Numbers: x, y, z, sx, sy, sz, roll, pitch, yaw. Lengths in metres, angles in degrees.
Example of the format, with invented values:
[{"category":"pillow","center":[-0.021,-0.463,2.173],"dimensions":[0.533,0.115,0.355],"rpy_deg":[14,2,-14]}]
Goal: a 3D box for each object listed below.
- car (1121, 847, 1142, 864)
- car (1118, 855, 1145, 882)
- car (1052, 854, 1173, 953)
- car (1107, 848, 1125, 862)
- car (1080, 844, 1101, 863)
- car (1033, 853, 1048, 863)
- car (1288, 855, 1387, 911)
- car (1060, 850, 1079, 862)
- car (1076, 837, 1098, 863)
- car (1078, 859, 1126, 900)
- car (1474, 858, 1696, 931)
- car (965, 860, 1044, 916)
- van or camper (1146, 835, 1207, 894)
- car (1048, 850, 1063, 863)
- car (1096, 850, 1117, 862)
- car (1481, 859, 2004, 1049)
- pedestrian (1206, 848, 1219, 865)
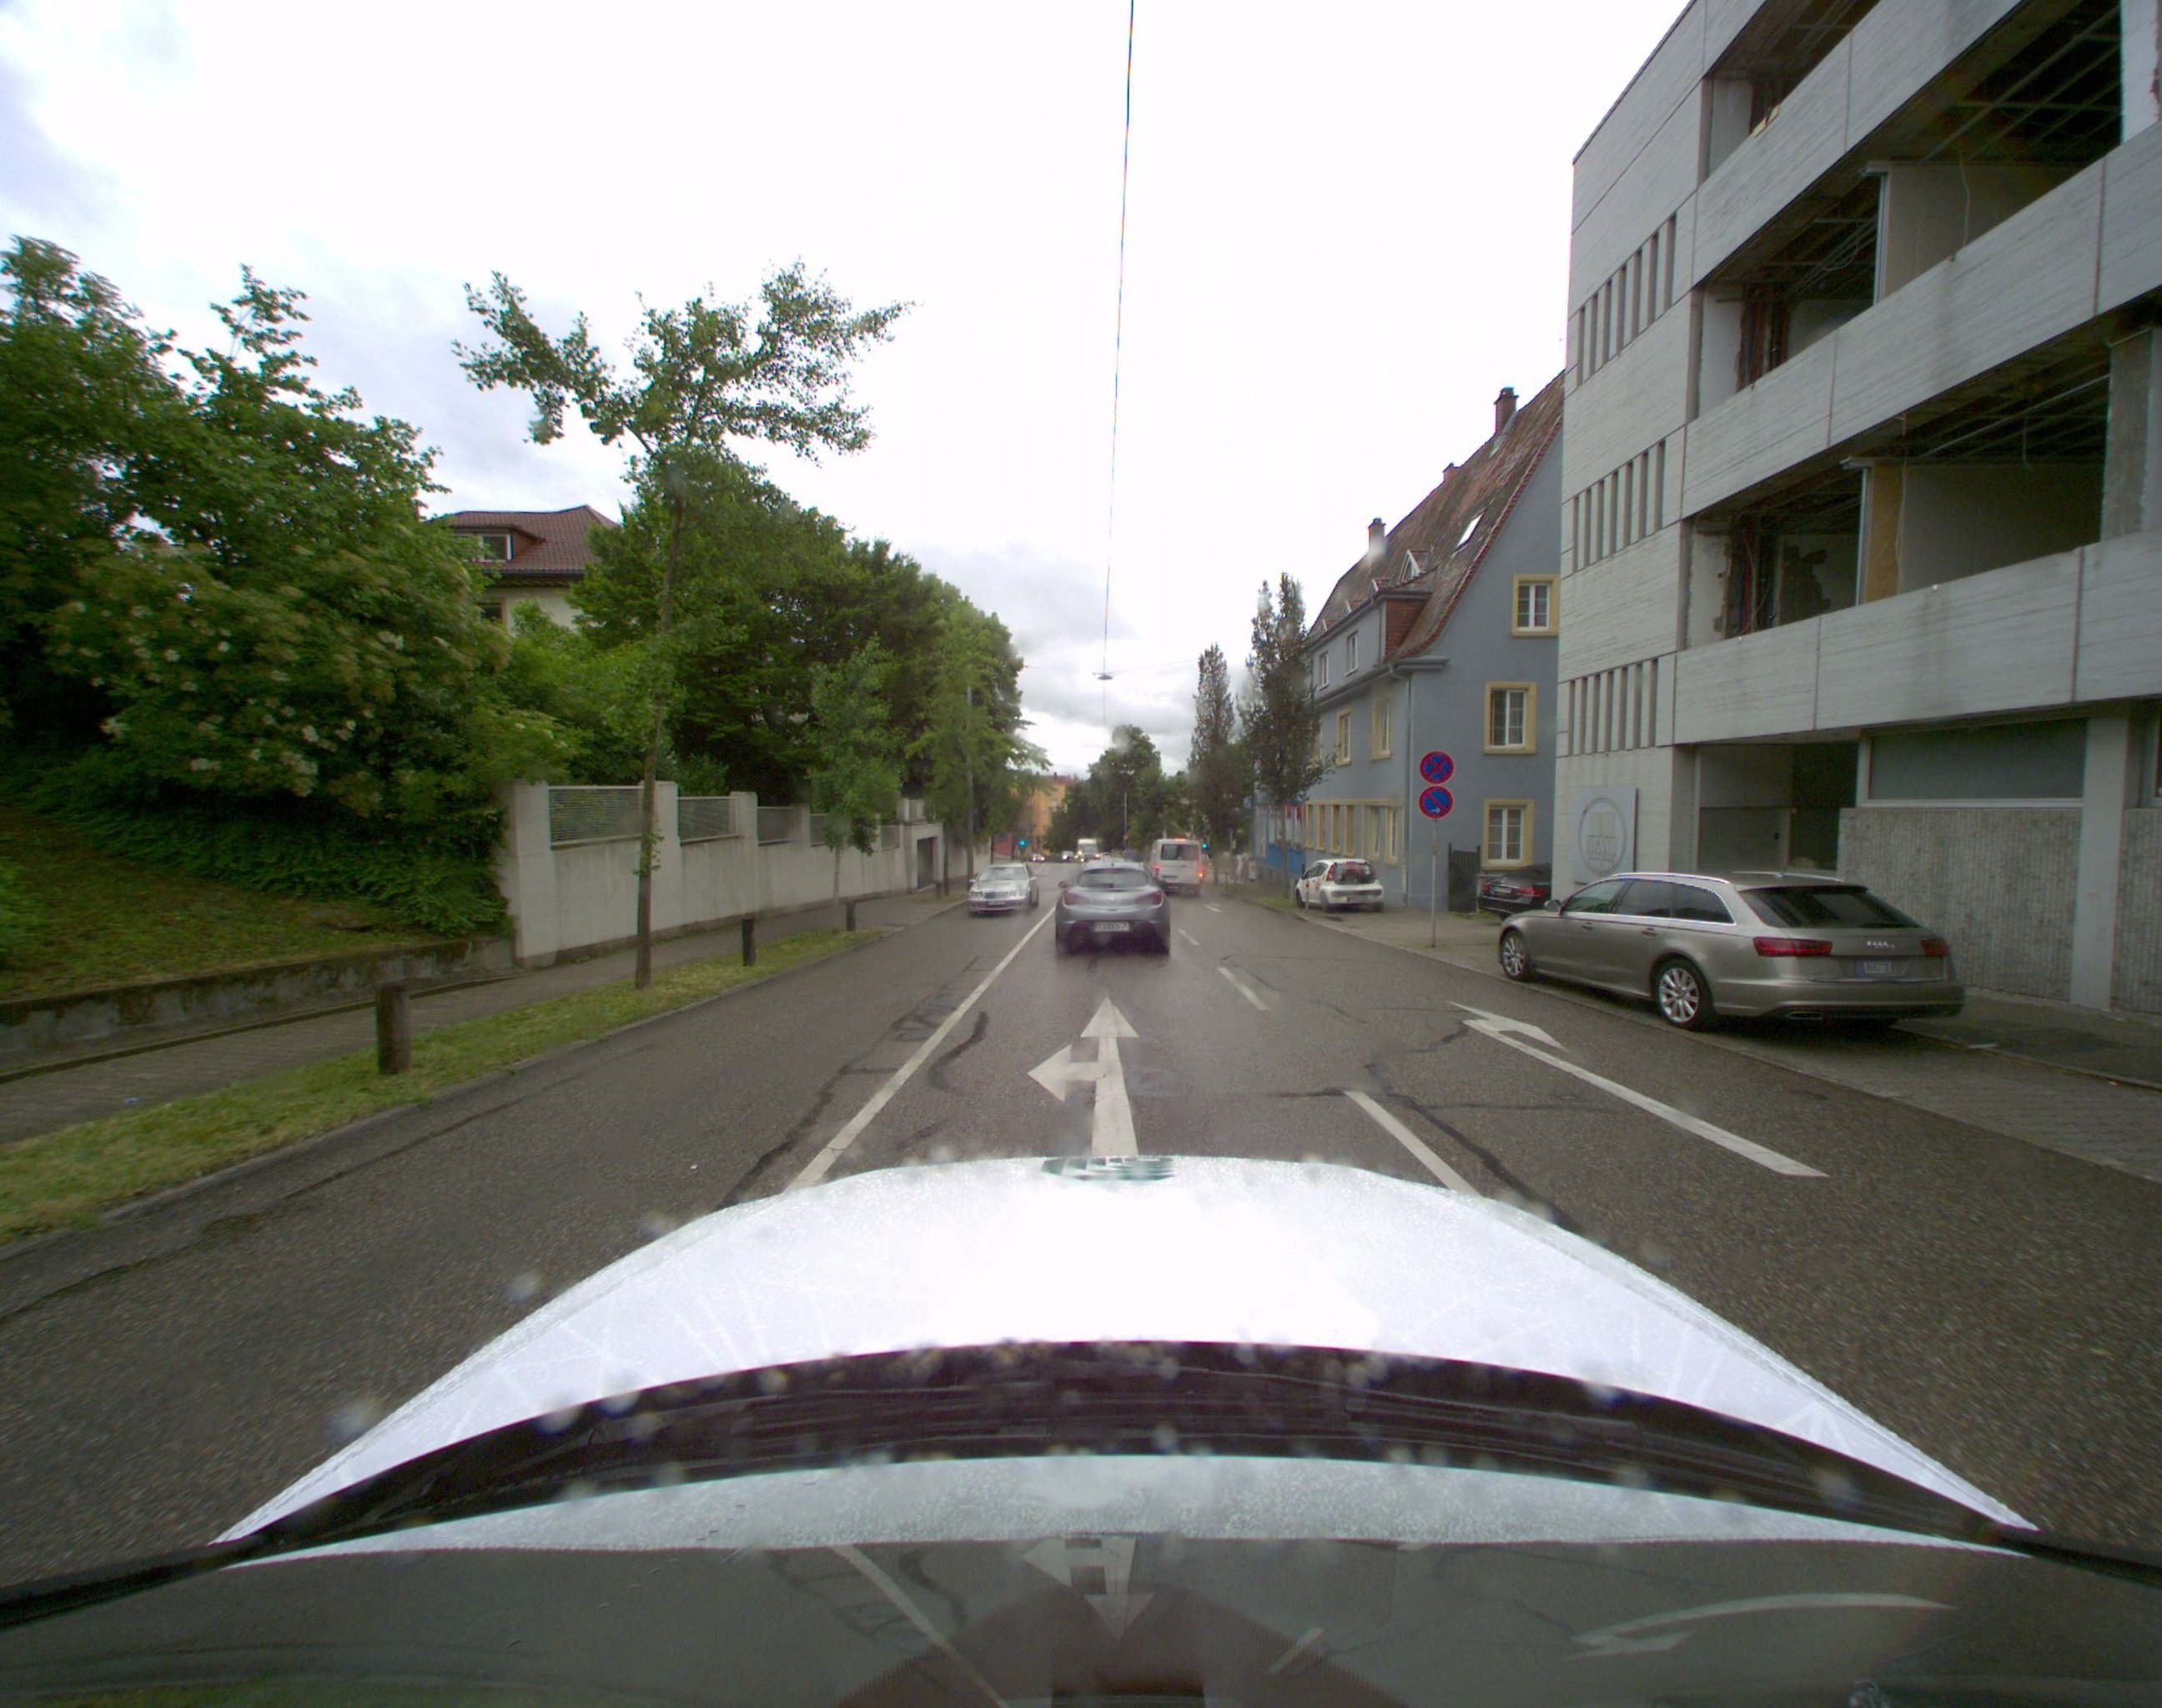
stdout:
[{"category":"car","center":[4.520,0.166,73.090],"dimensions":[1.615,1.486,3.434],"rpy_deg":[0,-1,0]},{"category":"car","center":[2.818,0.800,45.796],"dimensions":[1.378,1.411,3.457],"rpy_deg":[-1,0,1]},{"category":"car","center":[0.529,0.741,14.255],"dimensions":[1.808,1.429,4.002],"rpy_deg":[1,1,2]},{"category":"car","center":[3.699,0.134,86.424],"dimensions":[1.617,1.486,3.431],"rpy_deg":[0,-1,-4]},{"category":"car","center":[0.856,-0.076,74.516],"dimensions":[1.816,1.652,4.344],"rpy_deg":[1,1,-1]},{"category":"car","center":[-6.430,0.705,129.239],"dimensions":[1.774,1.497,4.248],"rpy_deg":[1,-1,-10]},{"category":"car","center":[7.262,0.767,23.372],"dimensions":[1.582,1.411,3.453],"rpy_deg":[-2,0,-2]},{"category":"car","center":[-1.470,0.289,106.460],"dimensions":[1.874,1.575,4.572],"rpy_deg":[0,0,-9]},{"category":"car","center":[0.593,-0.373,84.160],"dimensions":[2.112,2.545,5.536],"rpy_deg":[0,0,-2]},{"category":"car","center":[0.821,0.949,31.788],"dimensions":[1.769,1.430,3.787],"rpy_deg":[-1,0,1]},{"category":"car","center":[11.183,0.894,18.117],"dimensions":[4.365,1.407,1.798],"rpy_deg":[3,-1,-18]},{"category":"car","center":[-2.132,0.909,23.698],"dimensions":[1.713,1.384,4.286],"rpy_deg":[-2,0,2]},{"category":"van or camper","center":[4.041,0.420,35.351],"dimensions":[2.096,2.326,5.419],"rpy_deg":[2,0,2]},{"category":"car","center":[-4.065,0.378,129.084],"dimensions":[1.993,2.014,3.987],"rpy_deg":[0,-1,-9]},{"category":"car","center":[3.491,0.303,112.263],"dimensions":[1.816,1.495,3.984],"rpy_deg":[-6,0,-11]},{"category":"car","center":[6.414,0.805,8.825],"dimensions":[1.809,1.459,4.740],"rpy_deg":[0,0,-1]},{"category":"pedestrian","center":[12.396,0.247,76.767],"dimensions":[0.772,1.605,0.954],"rpy_deg":[-2,0,-42]}]
